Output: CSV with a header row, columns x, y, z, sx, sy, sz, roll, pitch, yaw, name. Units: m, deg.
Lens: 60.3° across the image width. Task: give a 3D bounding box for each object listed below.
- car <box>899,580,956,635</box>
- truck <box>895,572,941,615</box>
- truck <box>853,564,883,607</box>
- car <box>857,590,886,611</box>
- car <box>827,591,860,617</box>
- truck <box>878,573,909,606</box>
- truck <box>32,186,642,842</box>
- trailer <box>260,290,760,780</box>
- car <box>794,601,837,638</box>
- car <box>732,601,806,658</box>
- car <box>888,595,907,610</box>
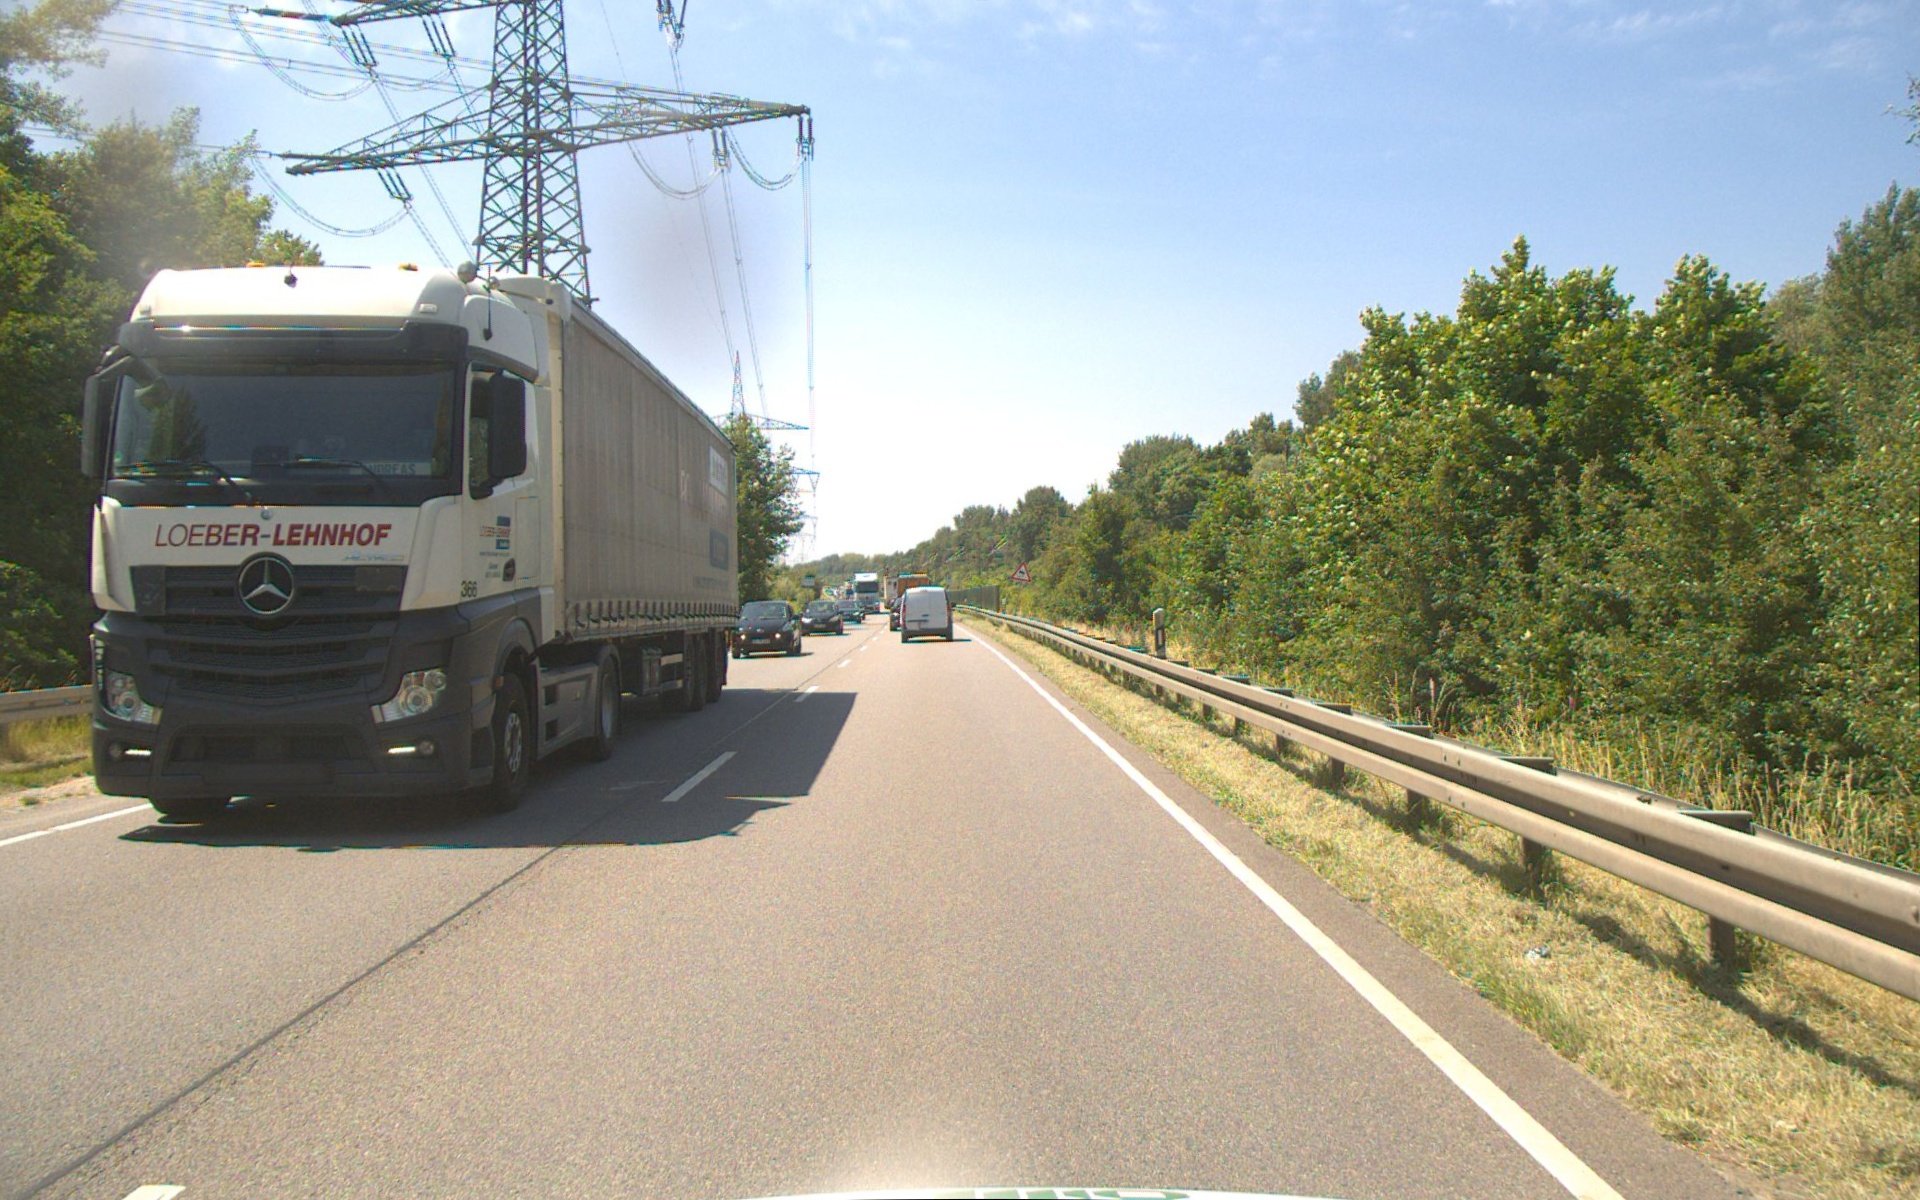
x,y,z,sx,sy,sz,roll,pitch,yaw,name
-1.094,0.249,55.864,1.837,1.772,3.999,-1,0,-1,car
-3.513,-0.613,133.395,3.231,3.227,14.397,1,1,-3,truck
-9.377,-1.419,168.769,2.688,4.112,9.660,-3,0,-2,truck
-6.565,0.055,122.606,1.953,1.480,3.999,-2,0,-1,car
-7.305,0.239,103.791,1.807,1.523,3.999,-1,0,-1,car
-8.616,-1.398,212.795,3.335,3.922,16.805,1,1,-4,truck
-4.478,-0.552,13.347,2.707,4.069,5.906,-1,0,-1,truck
-4.609,-0.560,20.740,2.707,4.069,13.683,-1,0,-1,trailer
-6.138,0.813,70.792,1.601,1.462,4.412,-2,0,-3,car
-5.231,0.785,45.734,1.600,1.462,4.179,0,0,-1,car
-6.844,0.280,180.321,1.954,1.553,3.998,-2,0,-3,car
